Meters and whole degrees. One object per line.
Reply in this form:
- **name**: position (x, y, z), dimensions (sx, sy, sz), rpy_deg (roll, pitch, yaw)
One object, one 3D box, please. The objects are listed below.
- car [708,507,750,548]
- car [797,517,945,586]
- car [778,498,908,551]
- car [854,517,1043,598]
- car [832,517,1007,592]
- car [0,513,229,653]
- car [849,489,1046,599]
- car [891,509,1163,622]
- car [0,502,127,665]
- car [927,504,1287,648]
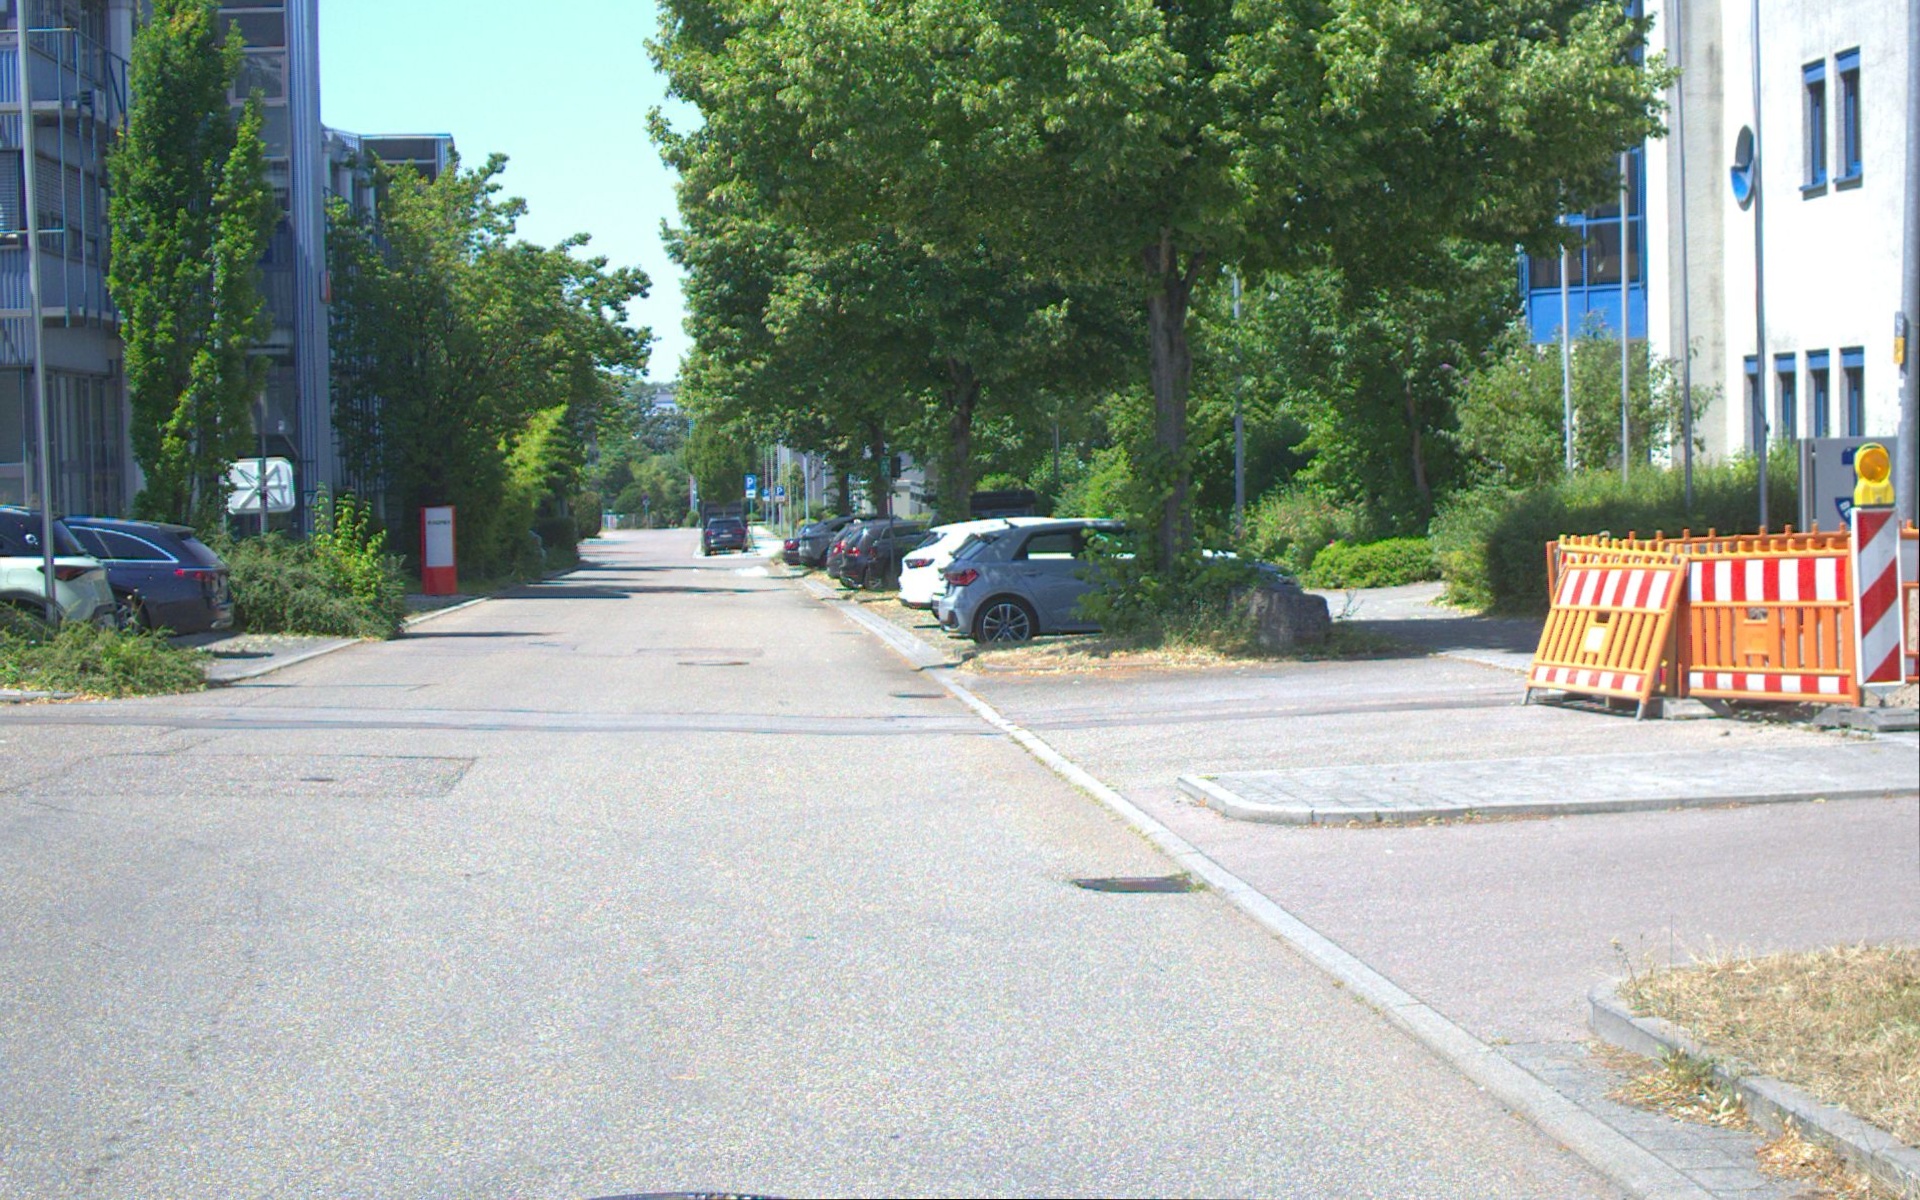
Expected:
- **car**: position (-9.962, -3.131, 148.355), dimensions (1.761, 1.749, 3.945), rpy_deg (0, 1, -3)
- **car**: position (-2.538, -1.392, 97.561), dimensions (3.930, 1.828, 1.768), rpy_deg (-1, 5, -11)
- **car**: position (-3.743, -2.407, 109.585), dimensions (3.930, 1.572, 1.768), rpy_deg (-1, 5, -11)
- **car**: position (-0.257, -0.866, 70.116), dimensions (3.721, 1.621, 1.814), rpy_deg (0, 1, -4)
- **car**: position (-0.908, -1.006, 75.398), dimensions (3.721, 1.621, 1.814), rpy_deg (0, 1, -4)
- **car**: position (-9.464, -0.188, 37.072), dimensions (3.057, 1.473, 1.293), rpy_deg (0, 1, -10)
- **car**: position (-0.271, -1.087, 66.948), dimensions (3.721, 2.103, 1.814), rpy_deg (0, 1, -4)
- **car**: position (0.908, -0.486, 47.779), dimensions (3.516, 1.350, 1.538), rpy_deg (-3, 1, -8)
- **car**: position (-9.978, -0.158, 32.175), dimensions (4.045, 1.489, 1.729), rpy_deg (0, 1, -6)
- **car**: position (1.597, -0.284, 38.082), dimensions (3.678, 1.350, 1.646), rpy_deg (-3, 1, -8)
